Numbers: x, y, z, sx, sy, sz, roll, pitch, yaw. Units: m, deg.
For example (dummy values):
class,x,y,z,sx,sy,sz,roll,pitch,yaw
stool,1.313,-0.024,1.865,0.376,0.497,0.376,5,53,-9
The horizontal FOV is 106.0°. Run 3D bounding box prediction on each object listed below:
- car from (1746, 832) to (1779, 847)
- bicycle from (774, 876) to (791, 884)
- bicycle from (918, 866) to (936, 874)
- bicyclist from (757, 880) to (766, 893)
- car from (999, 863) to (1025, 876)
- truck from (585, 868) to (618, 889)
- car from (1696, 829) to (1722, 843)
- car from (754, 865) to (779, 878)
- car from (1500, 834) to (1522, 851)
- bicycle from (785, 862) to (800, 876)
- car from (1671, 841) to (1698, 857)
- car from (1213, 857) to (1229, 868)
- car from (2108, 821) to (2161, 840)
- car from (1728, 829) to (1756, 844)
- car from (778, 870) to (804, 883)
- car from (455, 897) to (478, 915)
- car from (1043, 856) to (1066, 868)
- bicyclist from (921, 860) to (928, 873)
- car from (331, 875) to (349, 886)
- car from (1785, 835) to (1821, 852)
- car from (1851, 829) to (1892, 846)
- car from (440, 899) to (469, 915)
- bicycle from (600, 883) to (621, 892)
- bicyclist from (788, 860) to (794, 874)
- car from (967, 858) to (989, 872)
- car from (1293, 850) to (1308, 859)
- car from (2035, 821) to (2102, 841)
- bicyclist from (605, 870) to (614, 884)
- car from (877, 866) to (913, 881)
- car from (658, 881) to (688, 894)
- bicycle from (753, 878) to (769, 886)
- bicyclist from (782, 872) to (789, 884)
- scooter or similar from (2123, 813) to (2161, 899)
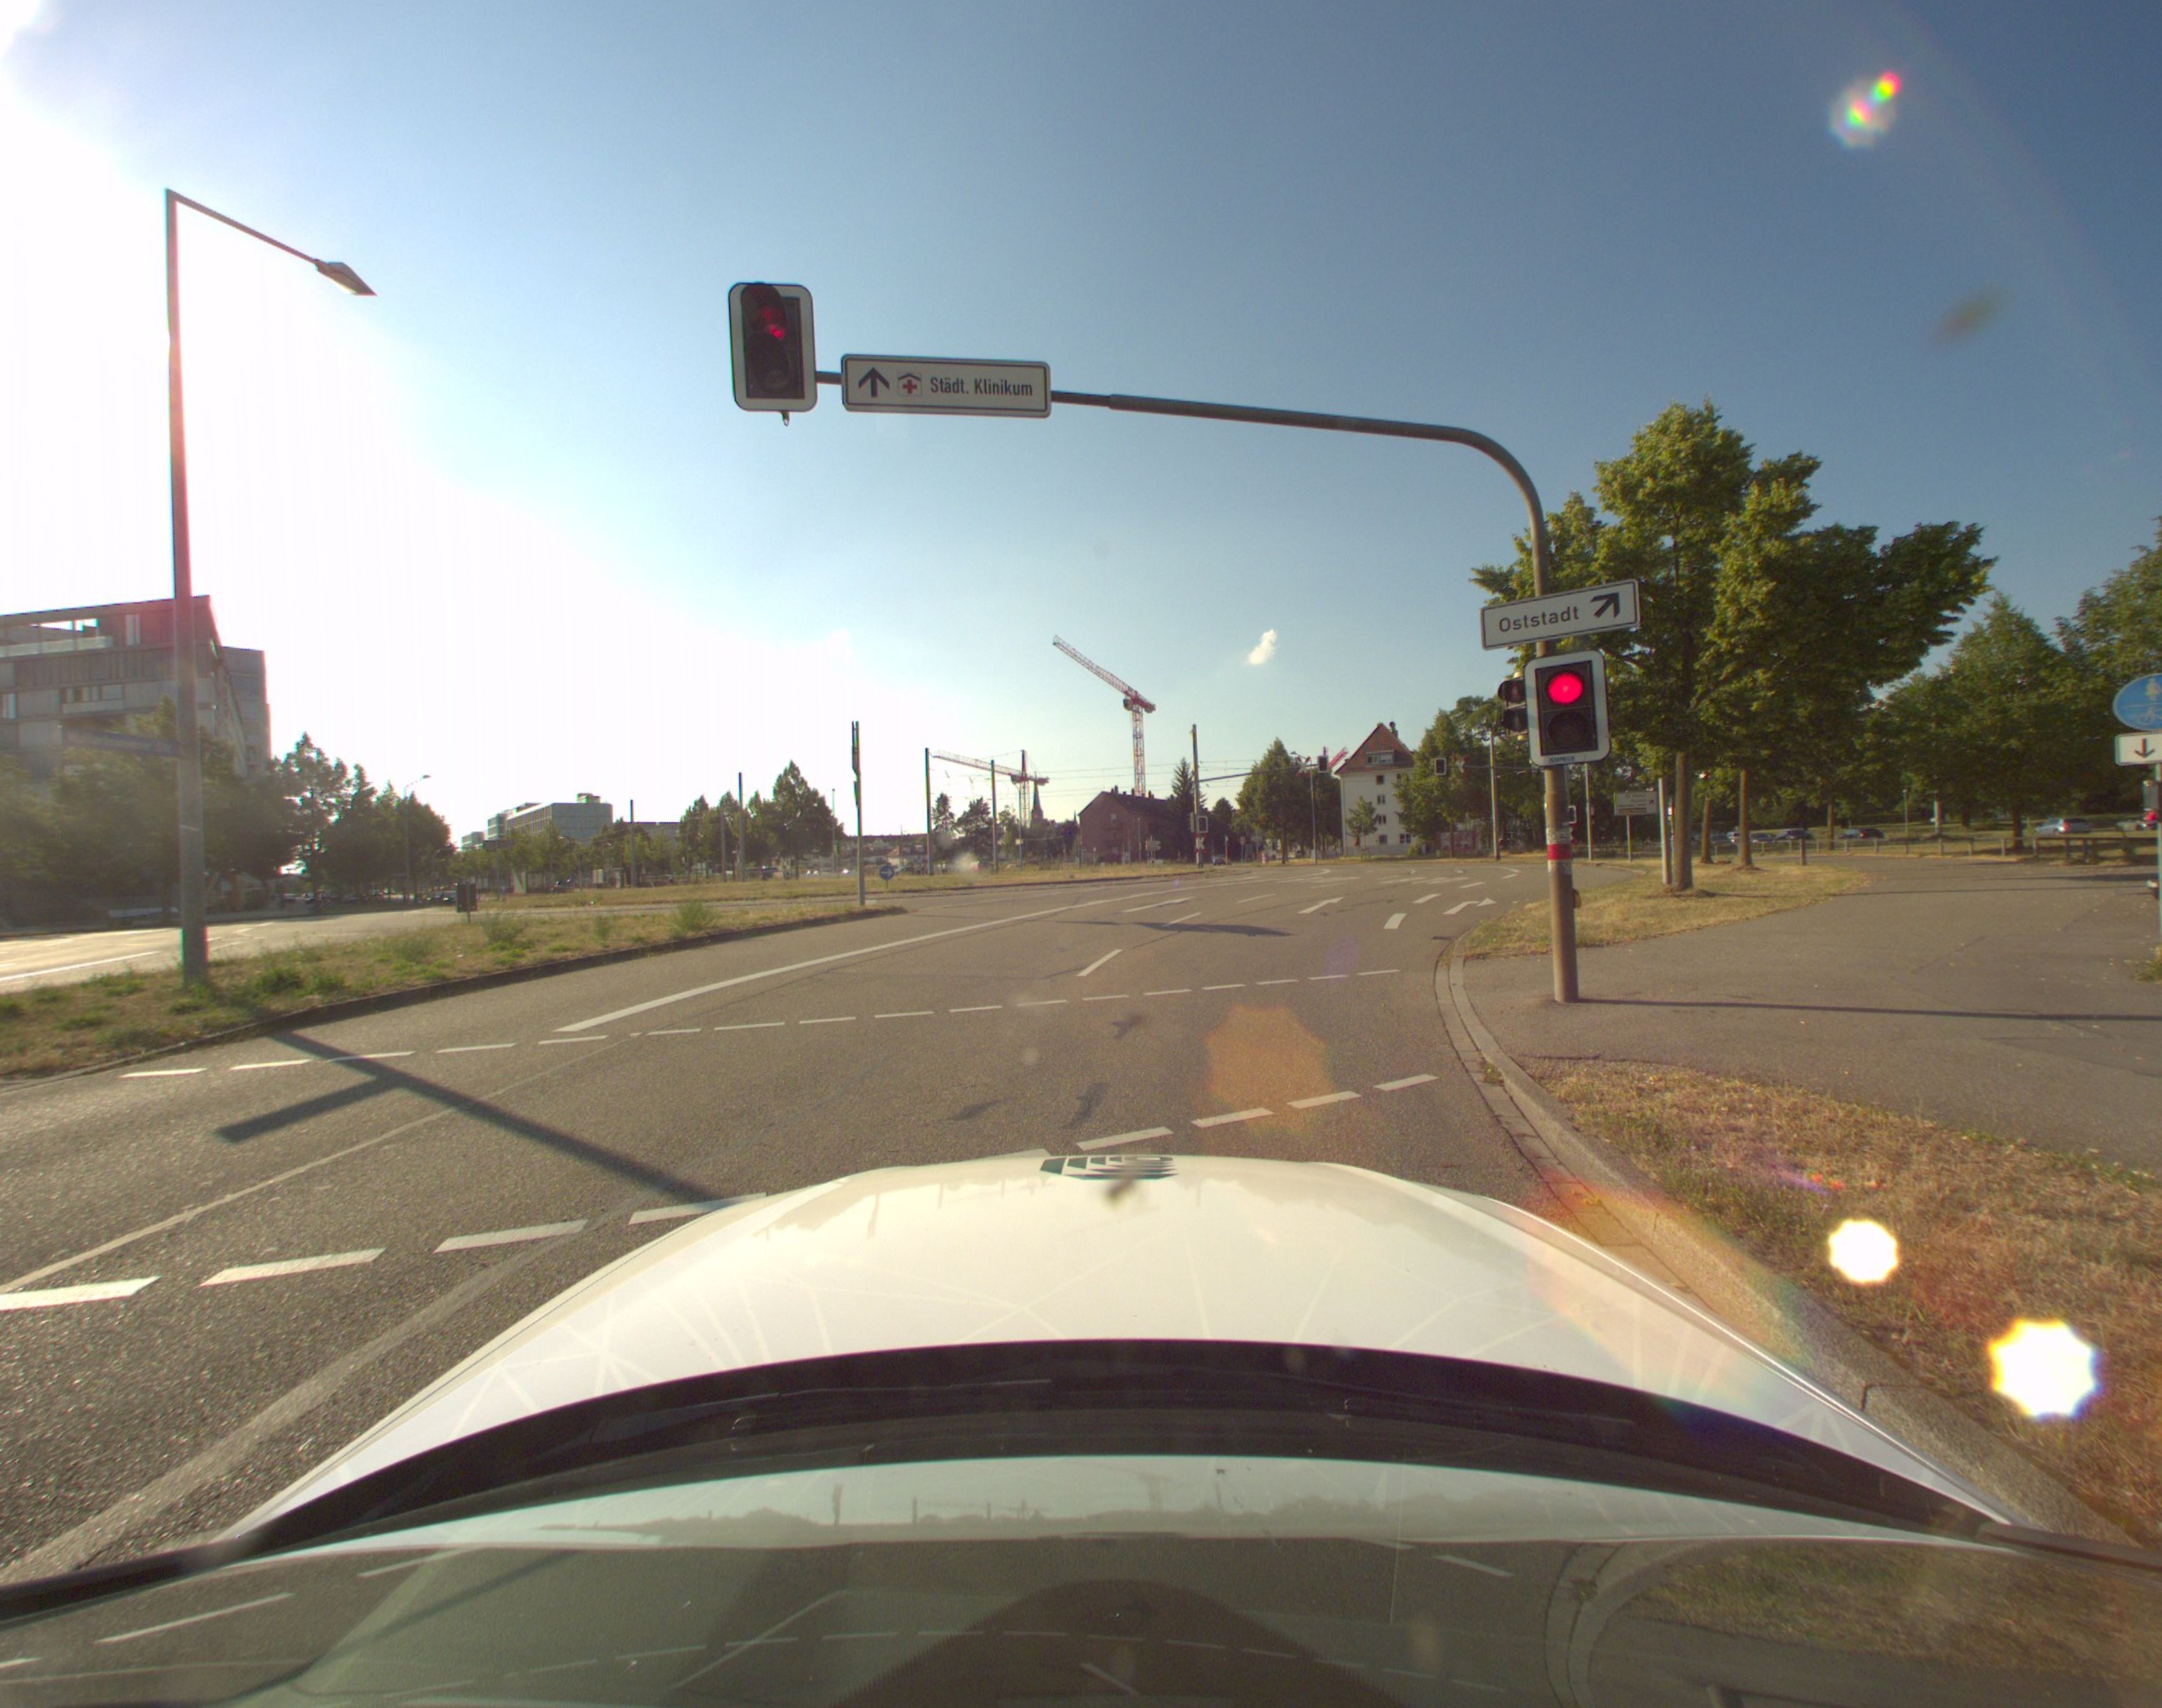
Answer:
class,x,y,z,sx,sy,sz,roll,pitch,yaw
car,61.540,-1.278,73.614,1.586,1.221,3.993,-3,-1,30
bicycle,-34.235,2.998,93.392,1.723,0.744,0.477,-2,0,-22
bicycle,-18.185,1.907,95.998,1.983,0.918,0.429,-2,0,-4
bicyclist,-36.109,3.694,92.052,0.958,1.357,0.688,-2,0,-25
car,-11.195,2.582,132.960,3.776,2.014,1.680,-3,-1,20
truck,-80.341,4.129,136.334,3.156,3.231,7.085,-2,0,-44
car,64.708,-1.843,83.942,1.586,1.402,3.993,-3,-1,30
car,-53.132,2.883,137.485,3.948,2.013,2.013,-3,0,36
car,42.914,-1.109,81.277,1.754,1.618,3.993,-3,-1,30
bicycle,-33.016,1.730,93.112,1.546,1.473,0.476,-2,0,-23
car,56.028,-0.497,75.651,1.586,1.402,3.993,-3,-1,30
car,19.097,1.181,110.952,1.442,1.300,3.568,-3,0,22
car,82.506,-1.830,63.231,1.804,1.403,4.023,-3,-1,26
car,67.256,-1.729,82.888,1.586,1.402,3.993,-3,-1,30
car,-47.074,3.692,132.152,3.948,2.013,2.013,-3,0,36
car,-58.577,4.950,77.619,1.493,1.475,3.260,-2,0,-42
car,-4.849,1.525,149.660,3.776,2.014,1.680,-3,-1,20
bicyclist,-18.450,1.449,95.987,0.621,1.511,0.418,-2,0,-4
car,-110.412,3.924,121.273,1.800,1.556,3.950,0,-1,-45
car,63.265,-0.917,71.414,1.586,1.402,3.993,-3,-1,30
car,67.248,-1.356,69.333,1.586,1.310,3.993,-3,-1,30
car,-64.557,5.439,83.875,2.011,1.475,3.952,-2,0,-42
bicycle,-47.019,3.320,81.334,1.732,0.744,0.475,-2,0,-44
bicyclist,-33.175,1.480,93.065,0.609,1.672,0.474,-2,-1,-23
car,-14.778,1.556,116.571,1.930,1.854,3.964,-2,0,-27
car,43.278,0.143,160.492,1.975,1.780,4.023,-1,-1,26
car,78.265,-1.805,64.604,1.804,1.403,4.023,-3,-1,26
bicyclist,-47.039,2.321,81.269,0.658,1.325,0.512,-2,0,-45
car,-24.231,2.550,106.106,4.013,1.816,1.981,-2,0,-30
car,-43.306,3.521,86.404,2.685,1.261,1.103,-2,0,-33
bicycle,-36.142,3.188,92.033,1.622,0.860,0.541,-2,0,-24
bicyclist,-33.940,2.723,93.554,0.654,1.325,0.515,-2,0,-21
scooter or similar,15.407,0.009,11.578,1.172,1.160,0.340,-4,-3,-23
